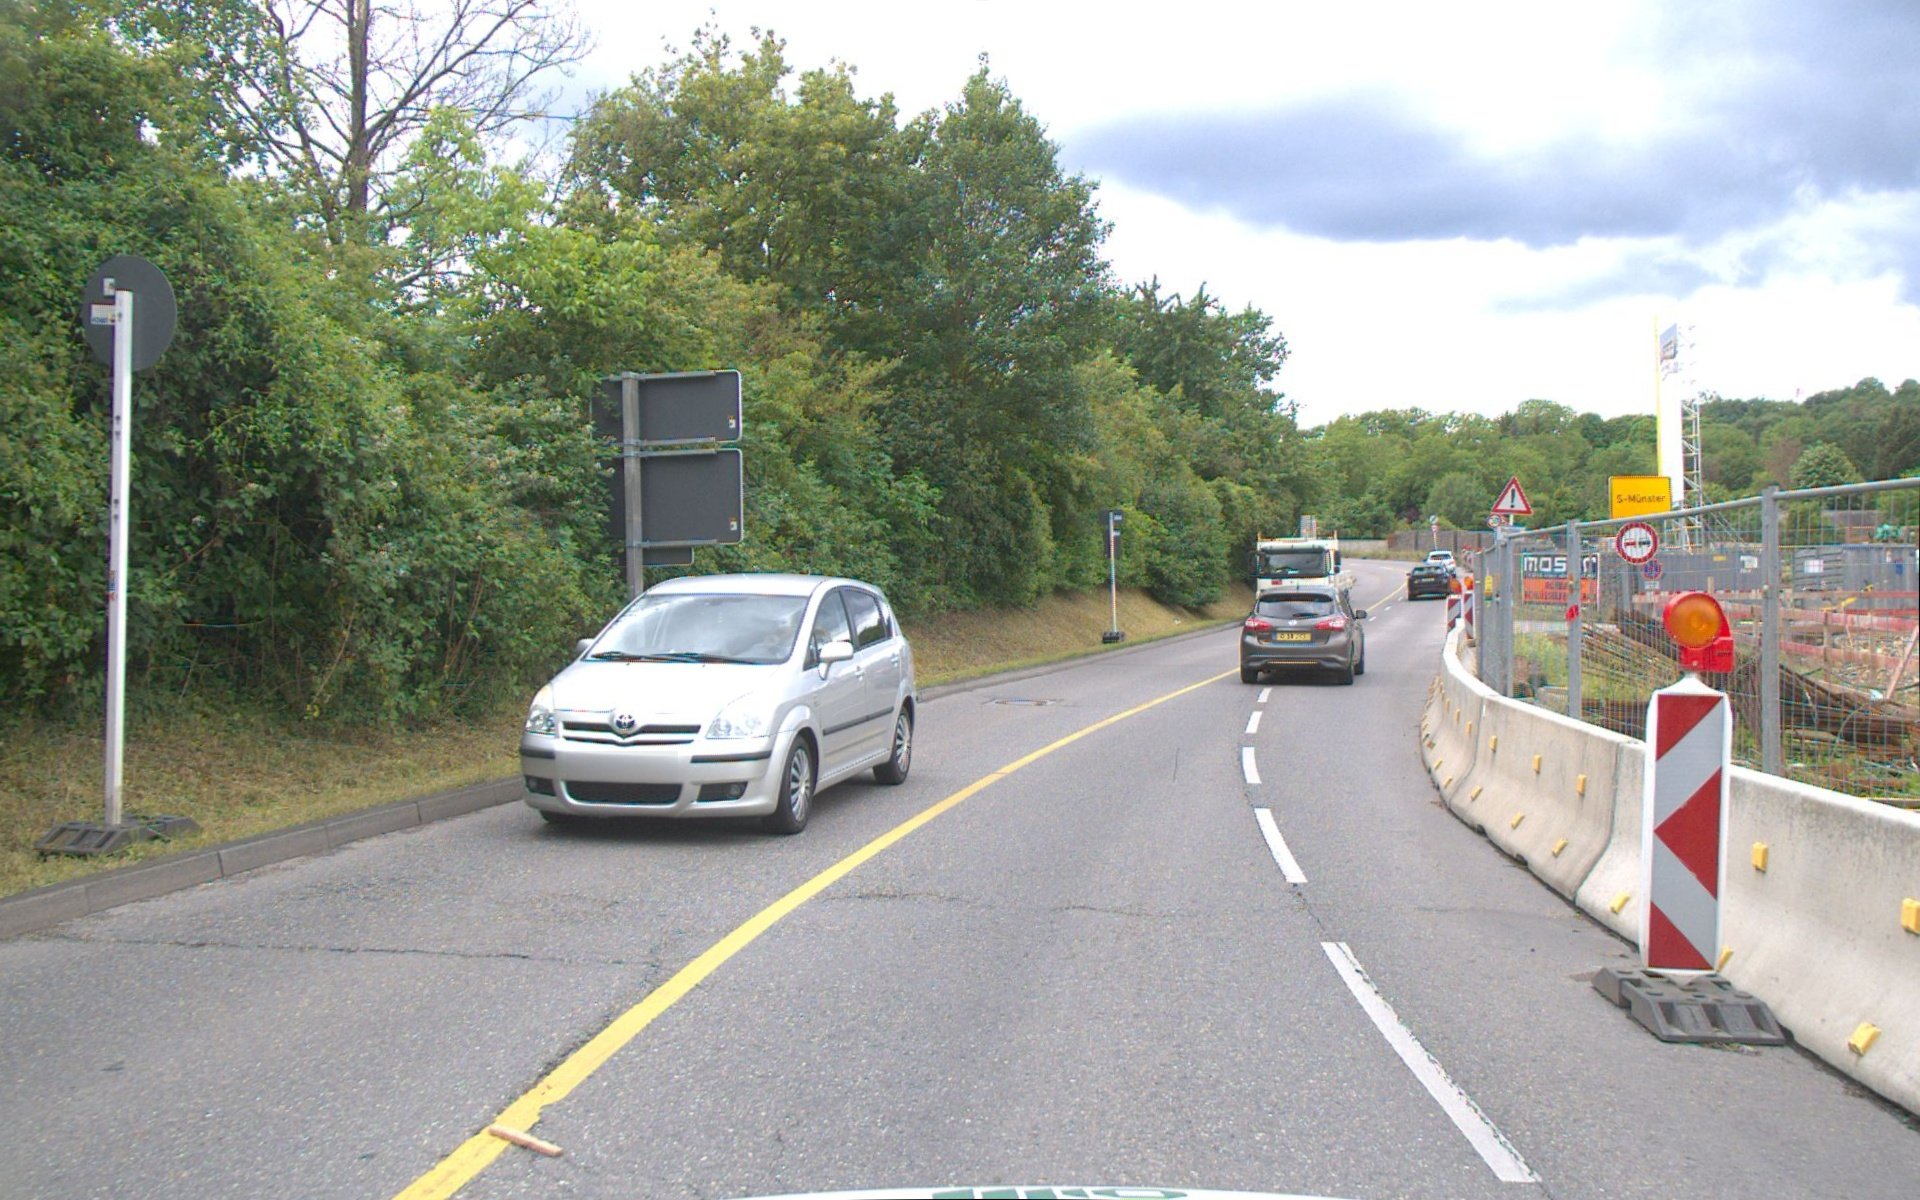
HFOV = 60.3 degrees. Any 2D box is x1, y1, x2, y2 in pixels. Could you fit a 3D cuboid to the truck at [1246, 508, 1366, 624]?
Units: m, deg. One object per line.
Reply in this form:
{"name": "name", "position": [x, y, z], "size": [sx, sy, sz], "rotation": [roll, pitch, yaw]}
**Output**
{"name": "truck", "position": [11.377, -1.150, 53.818], "size": [2.761, 3.394, 8.385], "rotation": [-2, 1, 19]}

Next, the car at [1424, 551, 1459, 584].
{"name": "car", "position": [26.726, -1.804, 91.870], "size": [1.675, 1.704, 4.003], "rotation": [-2, -1, 15]}

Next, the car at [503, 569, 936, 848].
{"name": "car", "position": [-1.451, 0.613, 11.664], "size": [1.621, 1.579, 4.190], "rotation": [1, 0, 13]}

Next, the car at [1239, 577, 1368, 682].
{"name": "car", "position": [5.734, 0.449, 27.271], "size": [1.760, 1.579, 4.002], "rotation": [1, 0, 16]}

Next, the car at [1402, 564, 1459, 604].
{"name": "car", "position": [19.560, -0.664, 68.687], "size": [1.783, 1.579, 3.787], "rotation": [0, 0, 23]}
